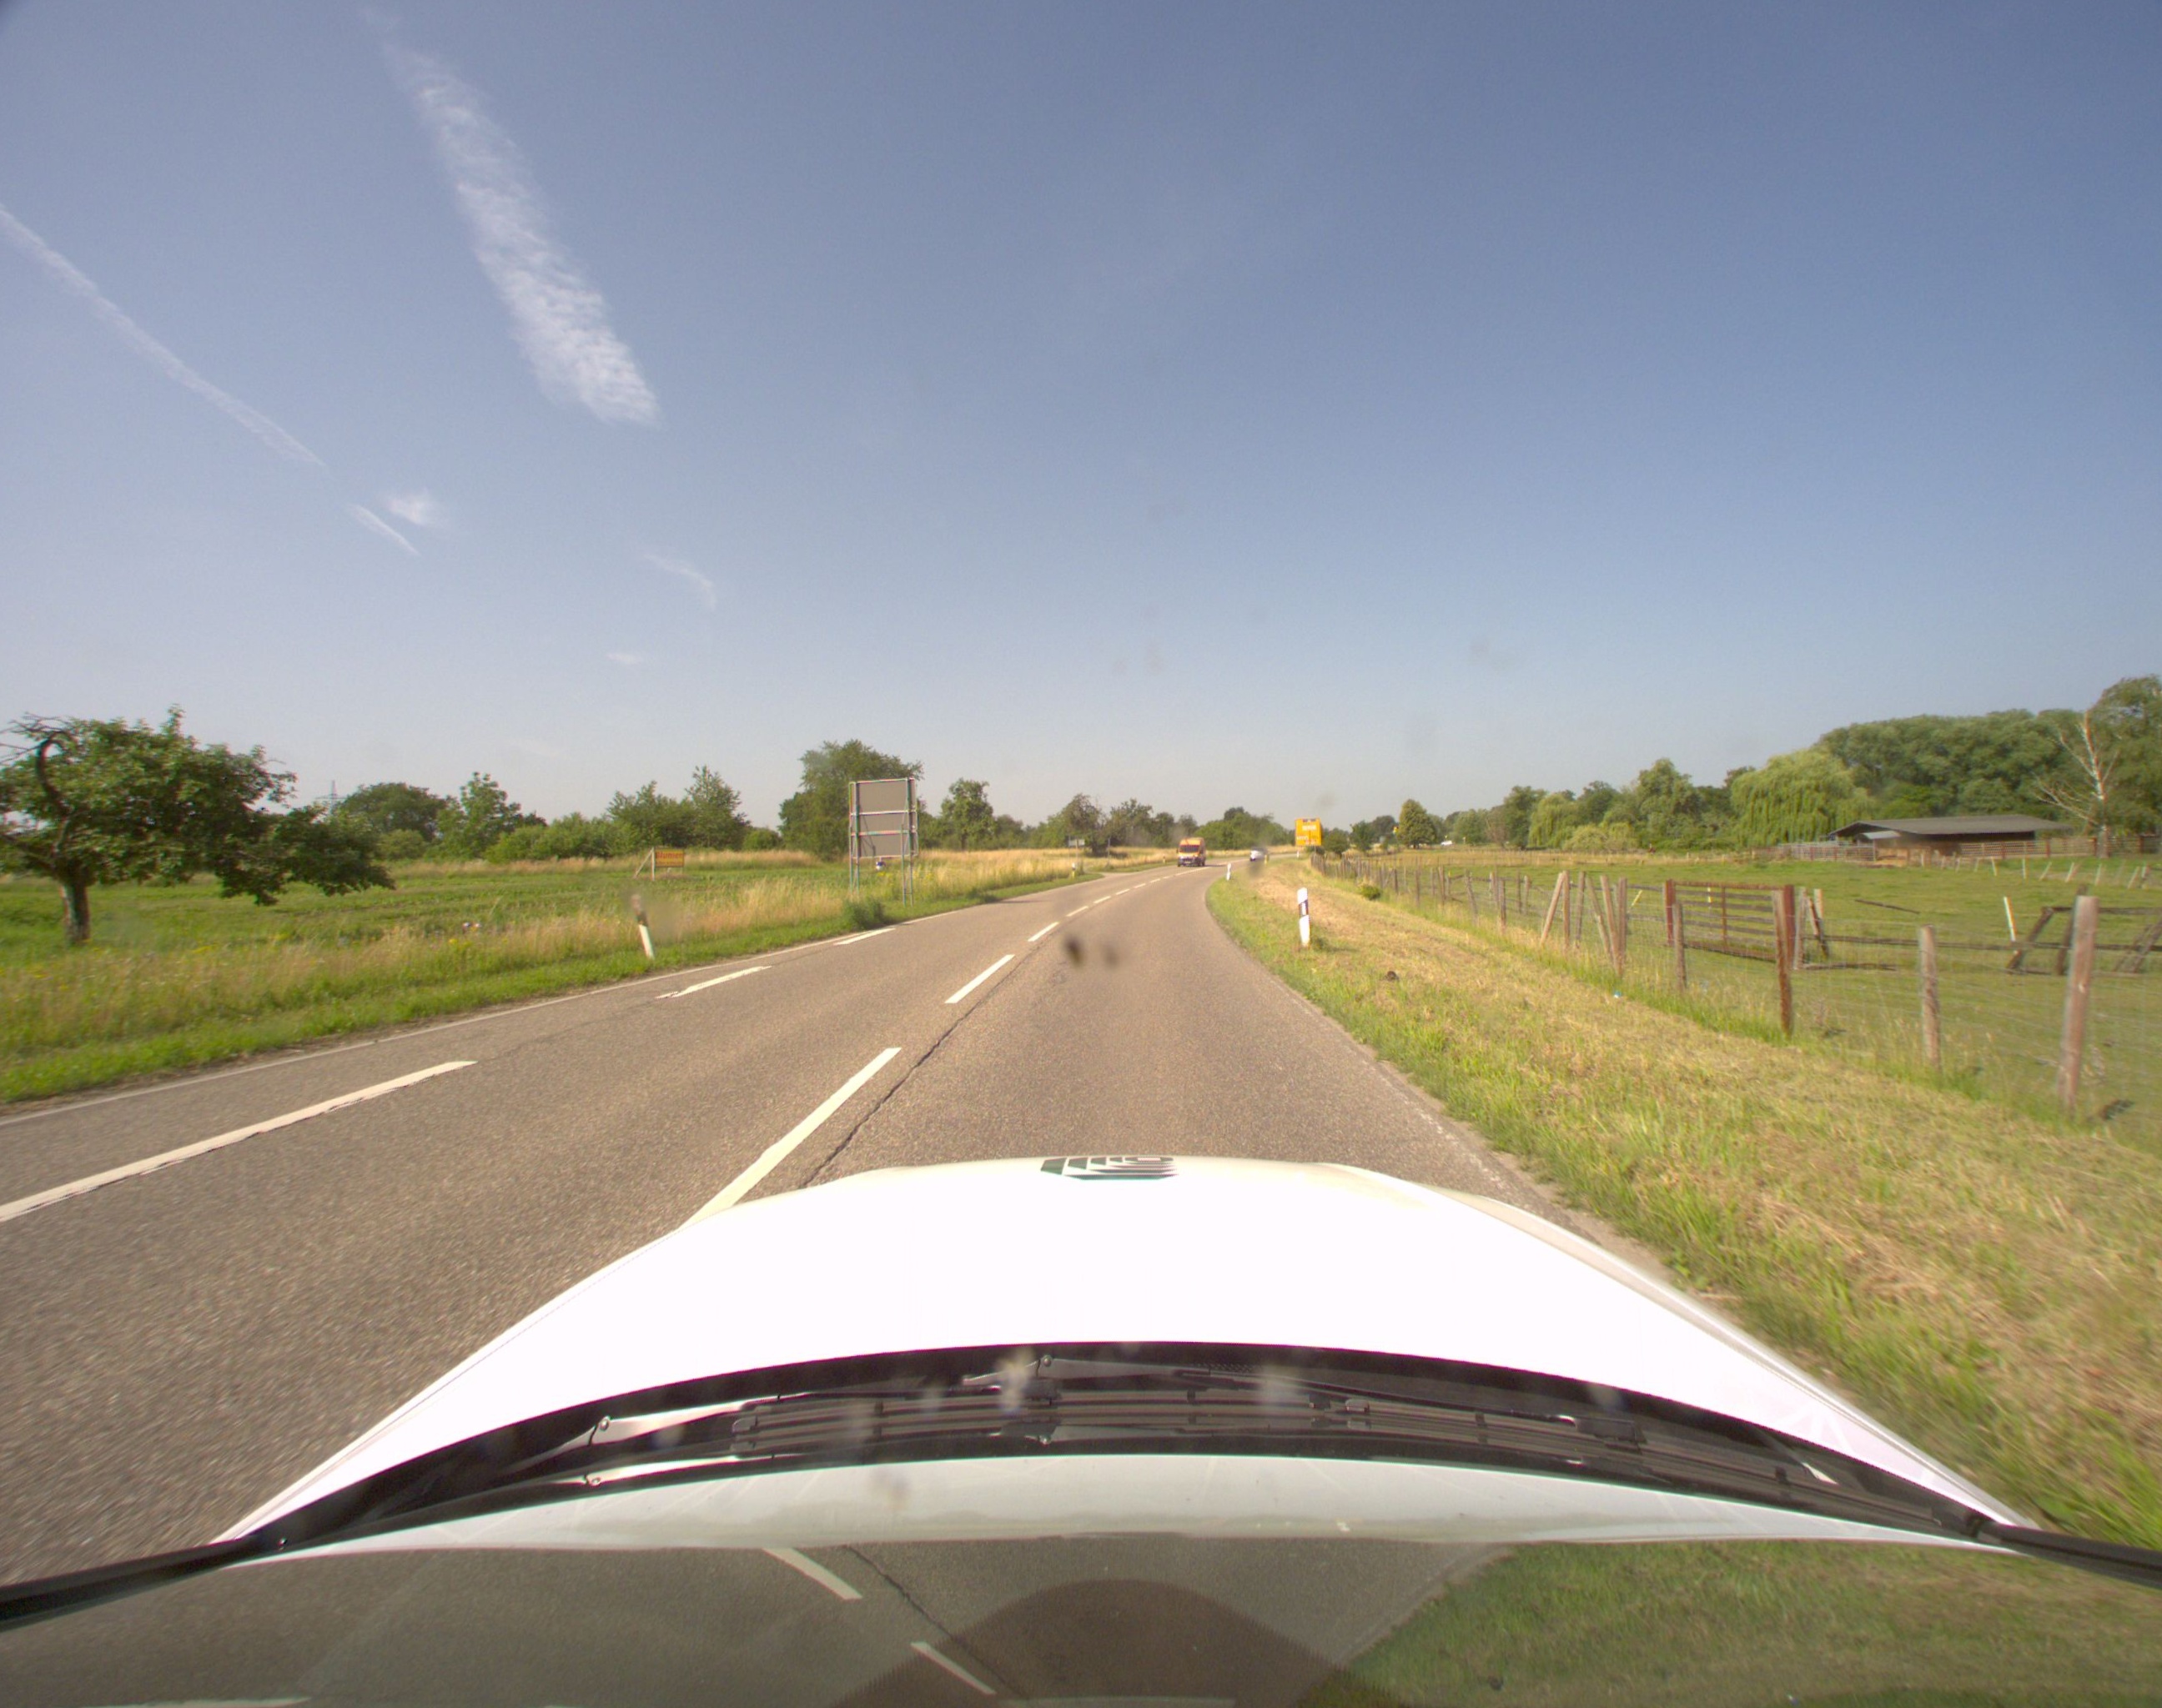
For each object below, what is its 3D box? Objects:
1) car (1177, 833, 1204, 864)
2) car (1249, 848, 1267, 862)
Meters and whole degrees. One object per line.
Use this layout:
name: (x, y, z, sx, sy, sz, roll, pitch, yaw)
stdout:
car: (10.136, -0.514, 74.970, 2.110, 2.696, 5.285, 0, 0, 11)
car: (20.006, 0.121, 92.122, 1.885, 1.512, 4.015, 0, 0, 14)
